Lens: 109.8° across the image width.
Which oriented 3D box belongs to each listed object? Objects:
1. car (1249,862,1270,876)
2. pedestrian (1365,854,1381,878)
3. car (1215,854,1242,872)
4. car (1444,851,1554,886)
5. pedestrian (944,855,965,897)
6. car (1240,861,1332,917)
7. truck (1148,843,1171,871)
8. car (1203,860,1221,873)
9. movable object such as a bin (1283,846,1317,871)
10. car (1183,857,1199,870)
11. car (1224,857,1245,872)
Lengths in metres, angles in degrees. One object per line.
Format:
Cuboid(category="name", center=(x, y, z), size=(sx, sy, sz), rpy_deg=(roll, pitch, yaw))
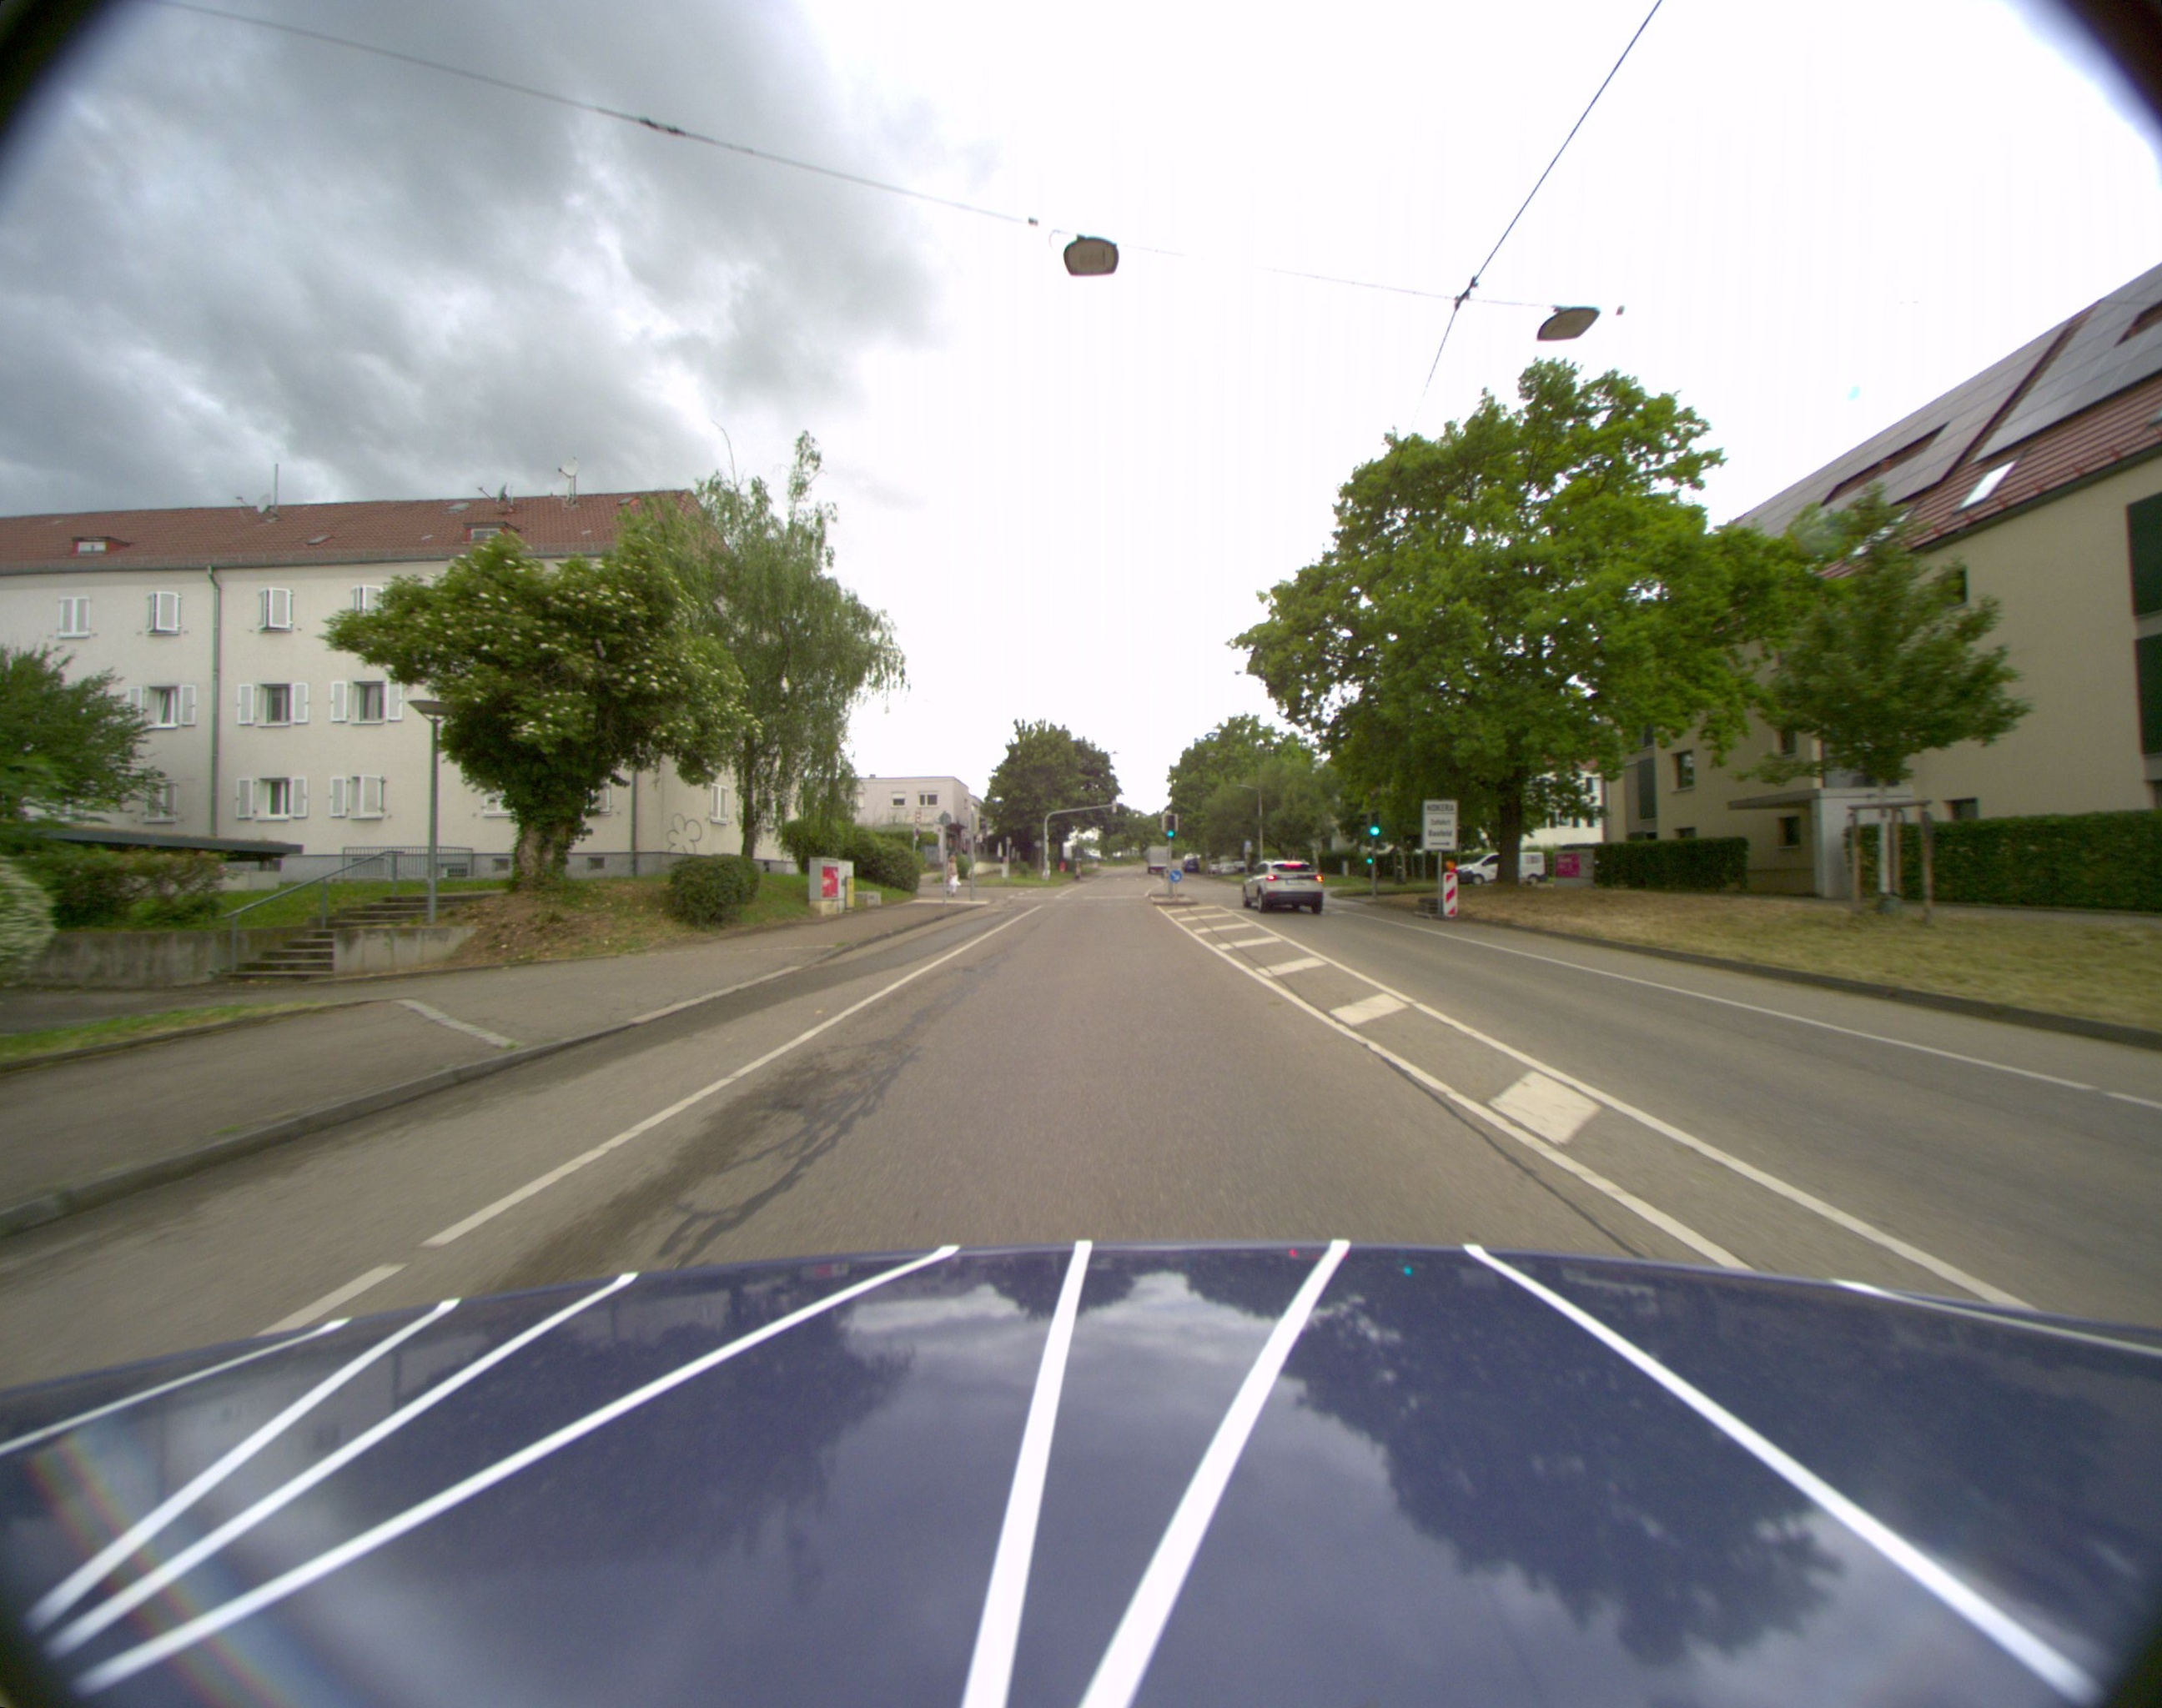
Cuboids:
Cuboid(category="car", center=(19.932, 1.676, 85.092), size=(1.679, 1.422, 3.873), rpy_deg=(-1, 0, 4))
Cuboid(category="pedestrian", center=(20.925, 0.857, 54.523), size=(0.778, 1.746, 0.689), rpy_deg=(-1, 0, -28))
Cuboid(category="car", center=(14.308, 0.890, 73.844), size=(1.998, 1.666, 4.547), rpy_deg=(-1, 0, 4))
Cuboid(category="car", center=(24.055, 0.828, 43.882), size=(5.151, 1.906, 2.001), rpy_deg=(-1, 0, 3))
Cuboid(category="pedestrian", center=(-5.175, 0.895, 31.037), size=(0.658, 1.674, 0.575), rpy_deg=(1, -2, 4))
Cuboid(category="car", center=(5.958, 0.971, 22.549), size=(1.806, 1.455, 4.030), rpy_deg=(1, 0, 2))
Cuboid(category="truck", center=(9.465, 0.372, 92.076), size=(2.371, 3.218, 7.218), rpy_deg=(0, 0, 2))
Cuboid(category="car", center=(14.924, 1.410, 86.837), size=(1.604, 1.346, 4.001), rpy_deg=(-1, 0, 5))
Cuboid(category="movable object such as a bin", center=(16.839, 0.357, 58.556), size=(1.099, 1.892, 3.247), rpy_deg=(-1, 0, -11))
Cuboid(category="car", center=(14.099, 1.194, 97.018), size=(1.997, 1.674, 4.003), rpy_deg=(-1, 0, 9))
Cuboid(category="car", center=(17.390, 1.178, 86.032), size=(1.860, 1.596, 4.001), rpy_deg=(-2, 0, 5))
